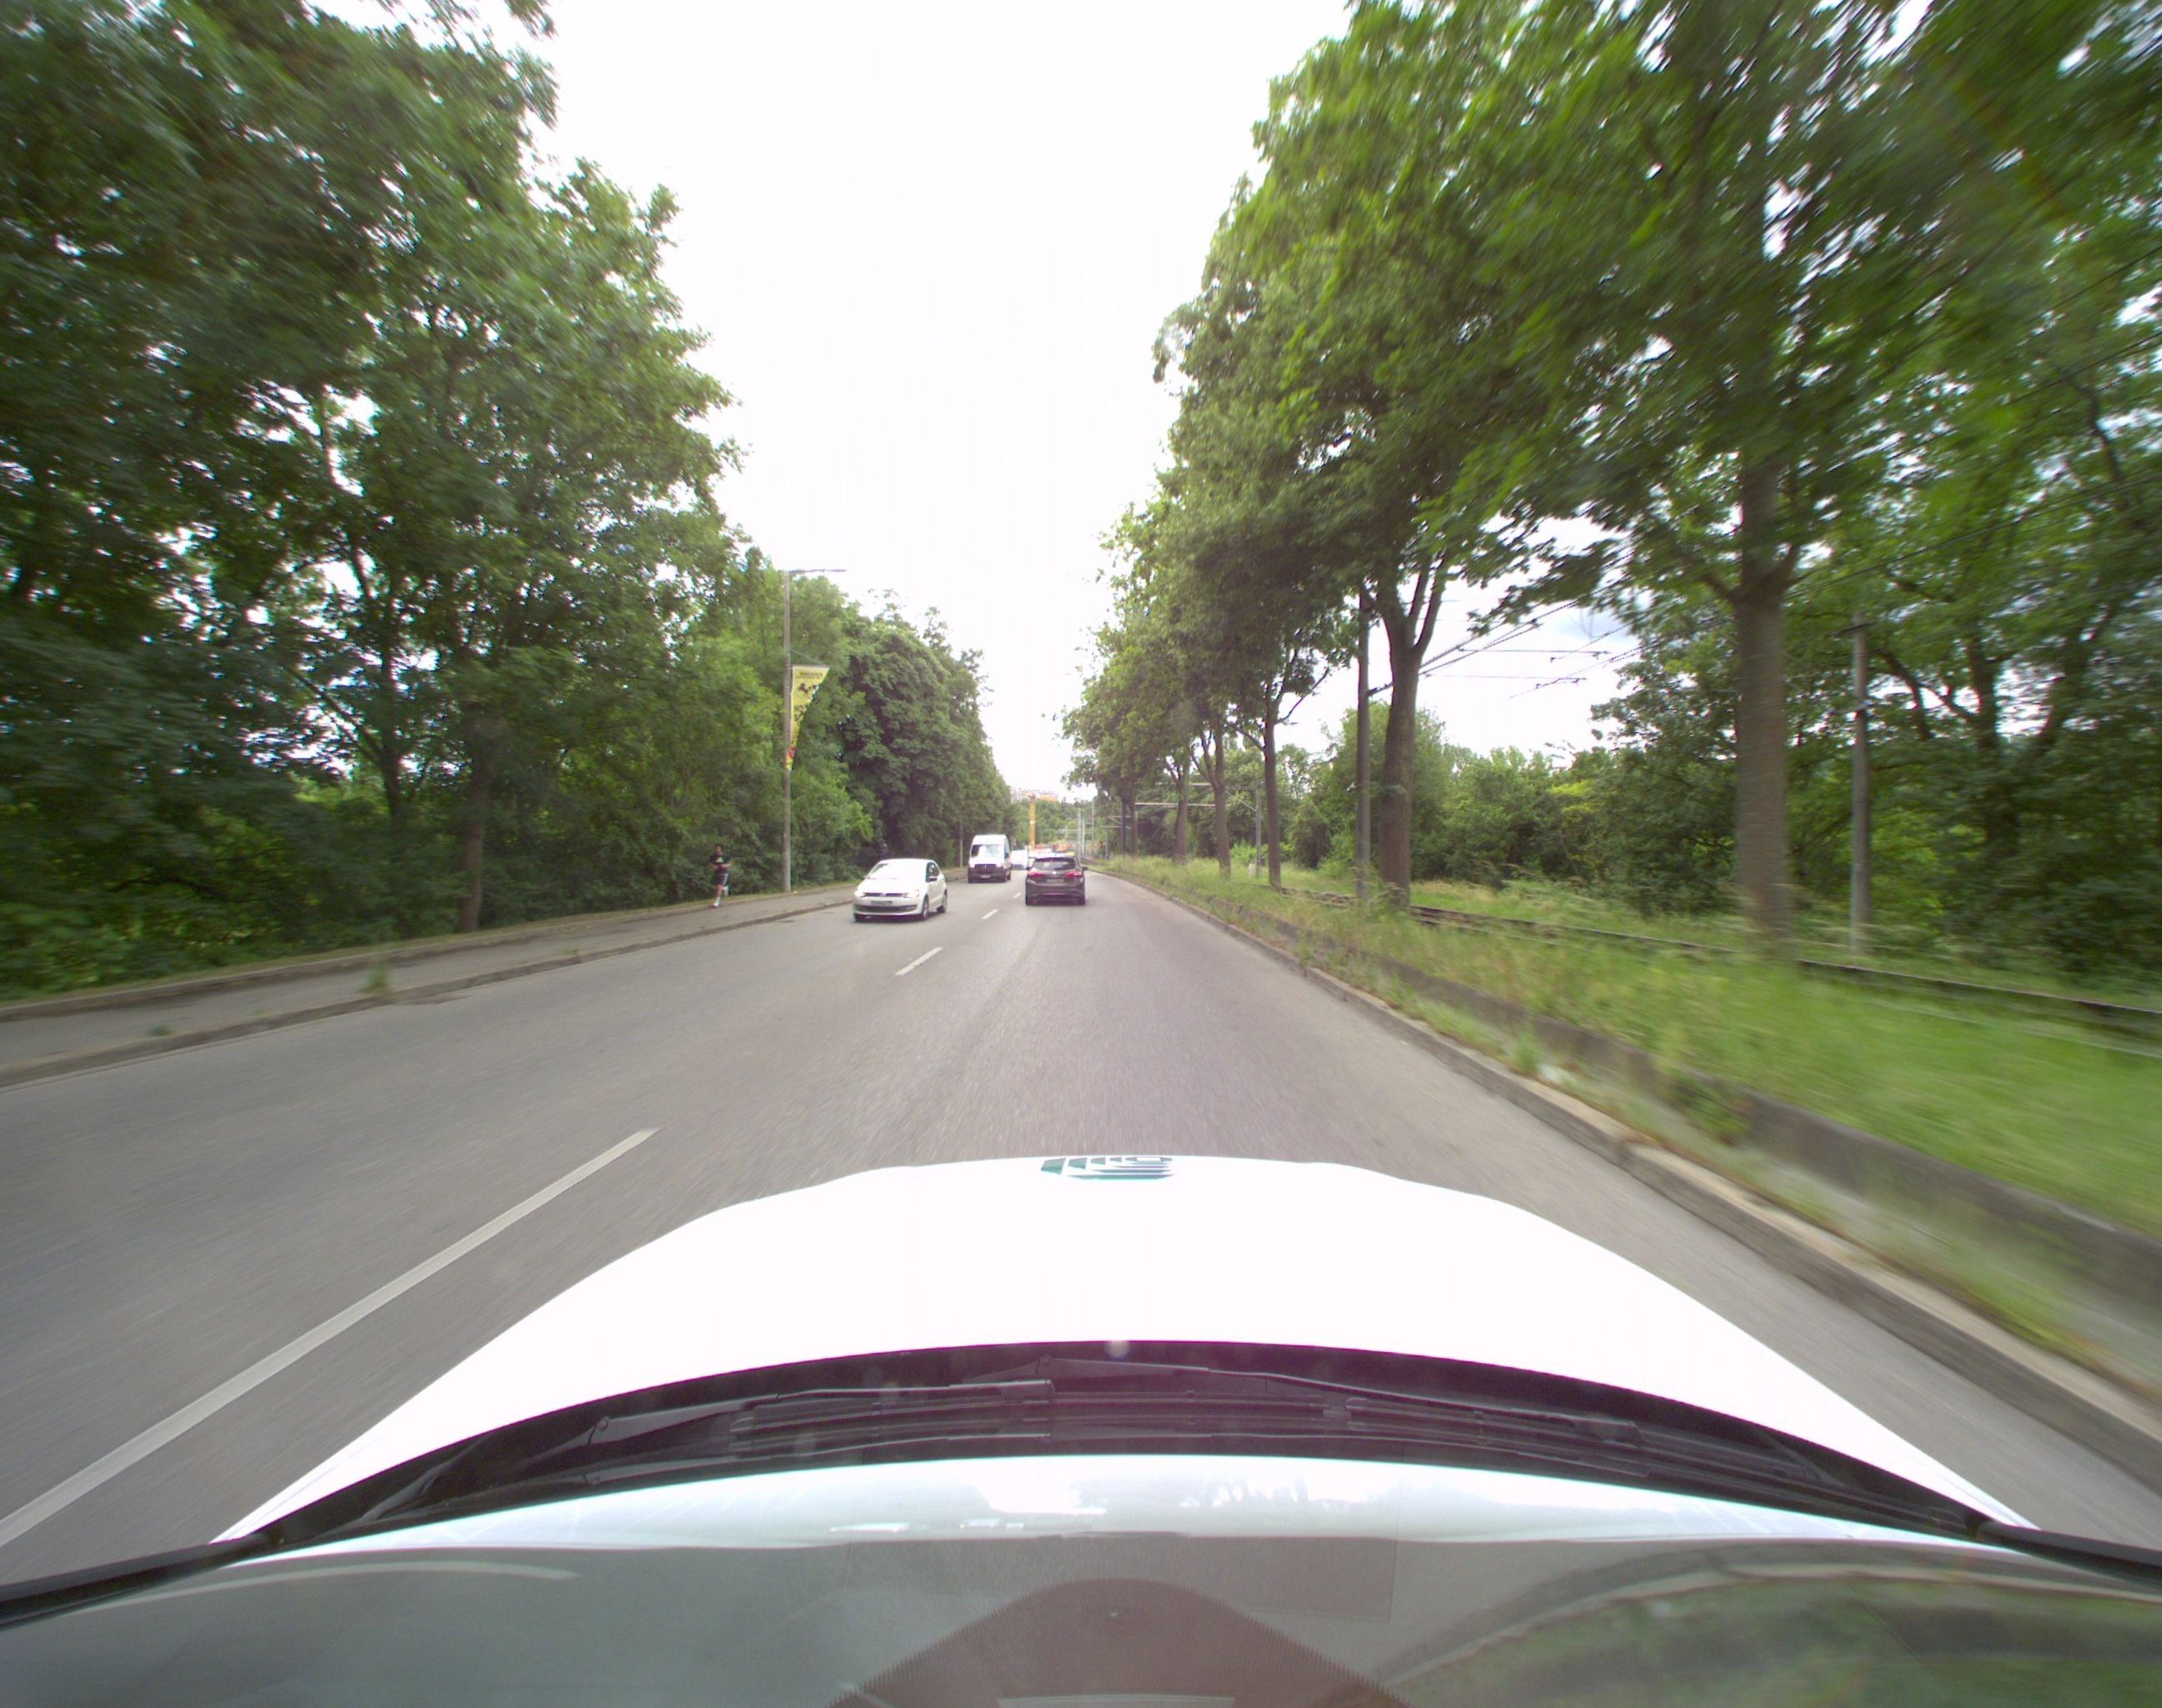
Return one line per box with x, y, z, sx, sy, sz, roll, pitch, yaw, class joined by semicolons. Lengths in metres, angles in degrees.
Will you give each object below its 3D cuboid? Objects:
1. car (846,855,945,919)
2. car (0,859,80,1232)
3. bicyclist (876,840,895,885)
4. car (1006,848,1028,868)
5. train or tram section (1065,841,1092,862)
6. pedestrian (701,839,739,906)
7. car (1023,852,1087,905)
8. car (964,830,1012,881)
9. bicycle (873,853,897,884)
-4.504;0.746;20.295;1.720;1.428;3.995;-1;0;-3;car
-5.354;0.774;1.390;1.987;1.505;4.278;-1;0;-1;car
-8.642;0.363;35.976;0.686;1.948;0.834;1;-1;-7;bicyclist
-6.081;0.363;77.558;1.852;1.799;4.553;-1;0;-2;car
-0.876;-0.574;229.160;3.030;5.183;22.959;2;-2;-11;train or tram section
-9.525;0.478;21.502;0.597;1.714;0.814;2;0;-1;pedestrian
-0.869;0.701;25.269;1.826;1.510;3.995;0;0;-4;car
-5.057;0.054;45.201;1.987;2.626;5.893;-1;0;0;car
-8.657;0.621;36.018;0.698;1.331;2.275;2;0;-7;bicycle
